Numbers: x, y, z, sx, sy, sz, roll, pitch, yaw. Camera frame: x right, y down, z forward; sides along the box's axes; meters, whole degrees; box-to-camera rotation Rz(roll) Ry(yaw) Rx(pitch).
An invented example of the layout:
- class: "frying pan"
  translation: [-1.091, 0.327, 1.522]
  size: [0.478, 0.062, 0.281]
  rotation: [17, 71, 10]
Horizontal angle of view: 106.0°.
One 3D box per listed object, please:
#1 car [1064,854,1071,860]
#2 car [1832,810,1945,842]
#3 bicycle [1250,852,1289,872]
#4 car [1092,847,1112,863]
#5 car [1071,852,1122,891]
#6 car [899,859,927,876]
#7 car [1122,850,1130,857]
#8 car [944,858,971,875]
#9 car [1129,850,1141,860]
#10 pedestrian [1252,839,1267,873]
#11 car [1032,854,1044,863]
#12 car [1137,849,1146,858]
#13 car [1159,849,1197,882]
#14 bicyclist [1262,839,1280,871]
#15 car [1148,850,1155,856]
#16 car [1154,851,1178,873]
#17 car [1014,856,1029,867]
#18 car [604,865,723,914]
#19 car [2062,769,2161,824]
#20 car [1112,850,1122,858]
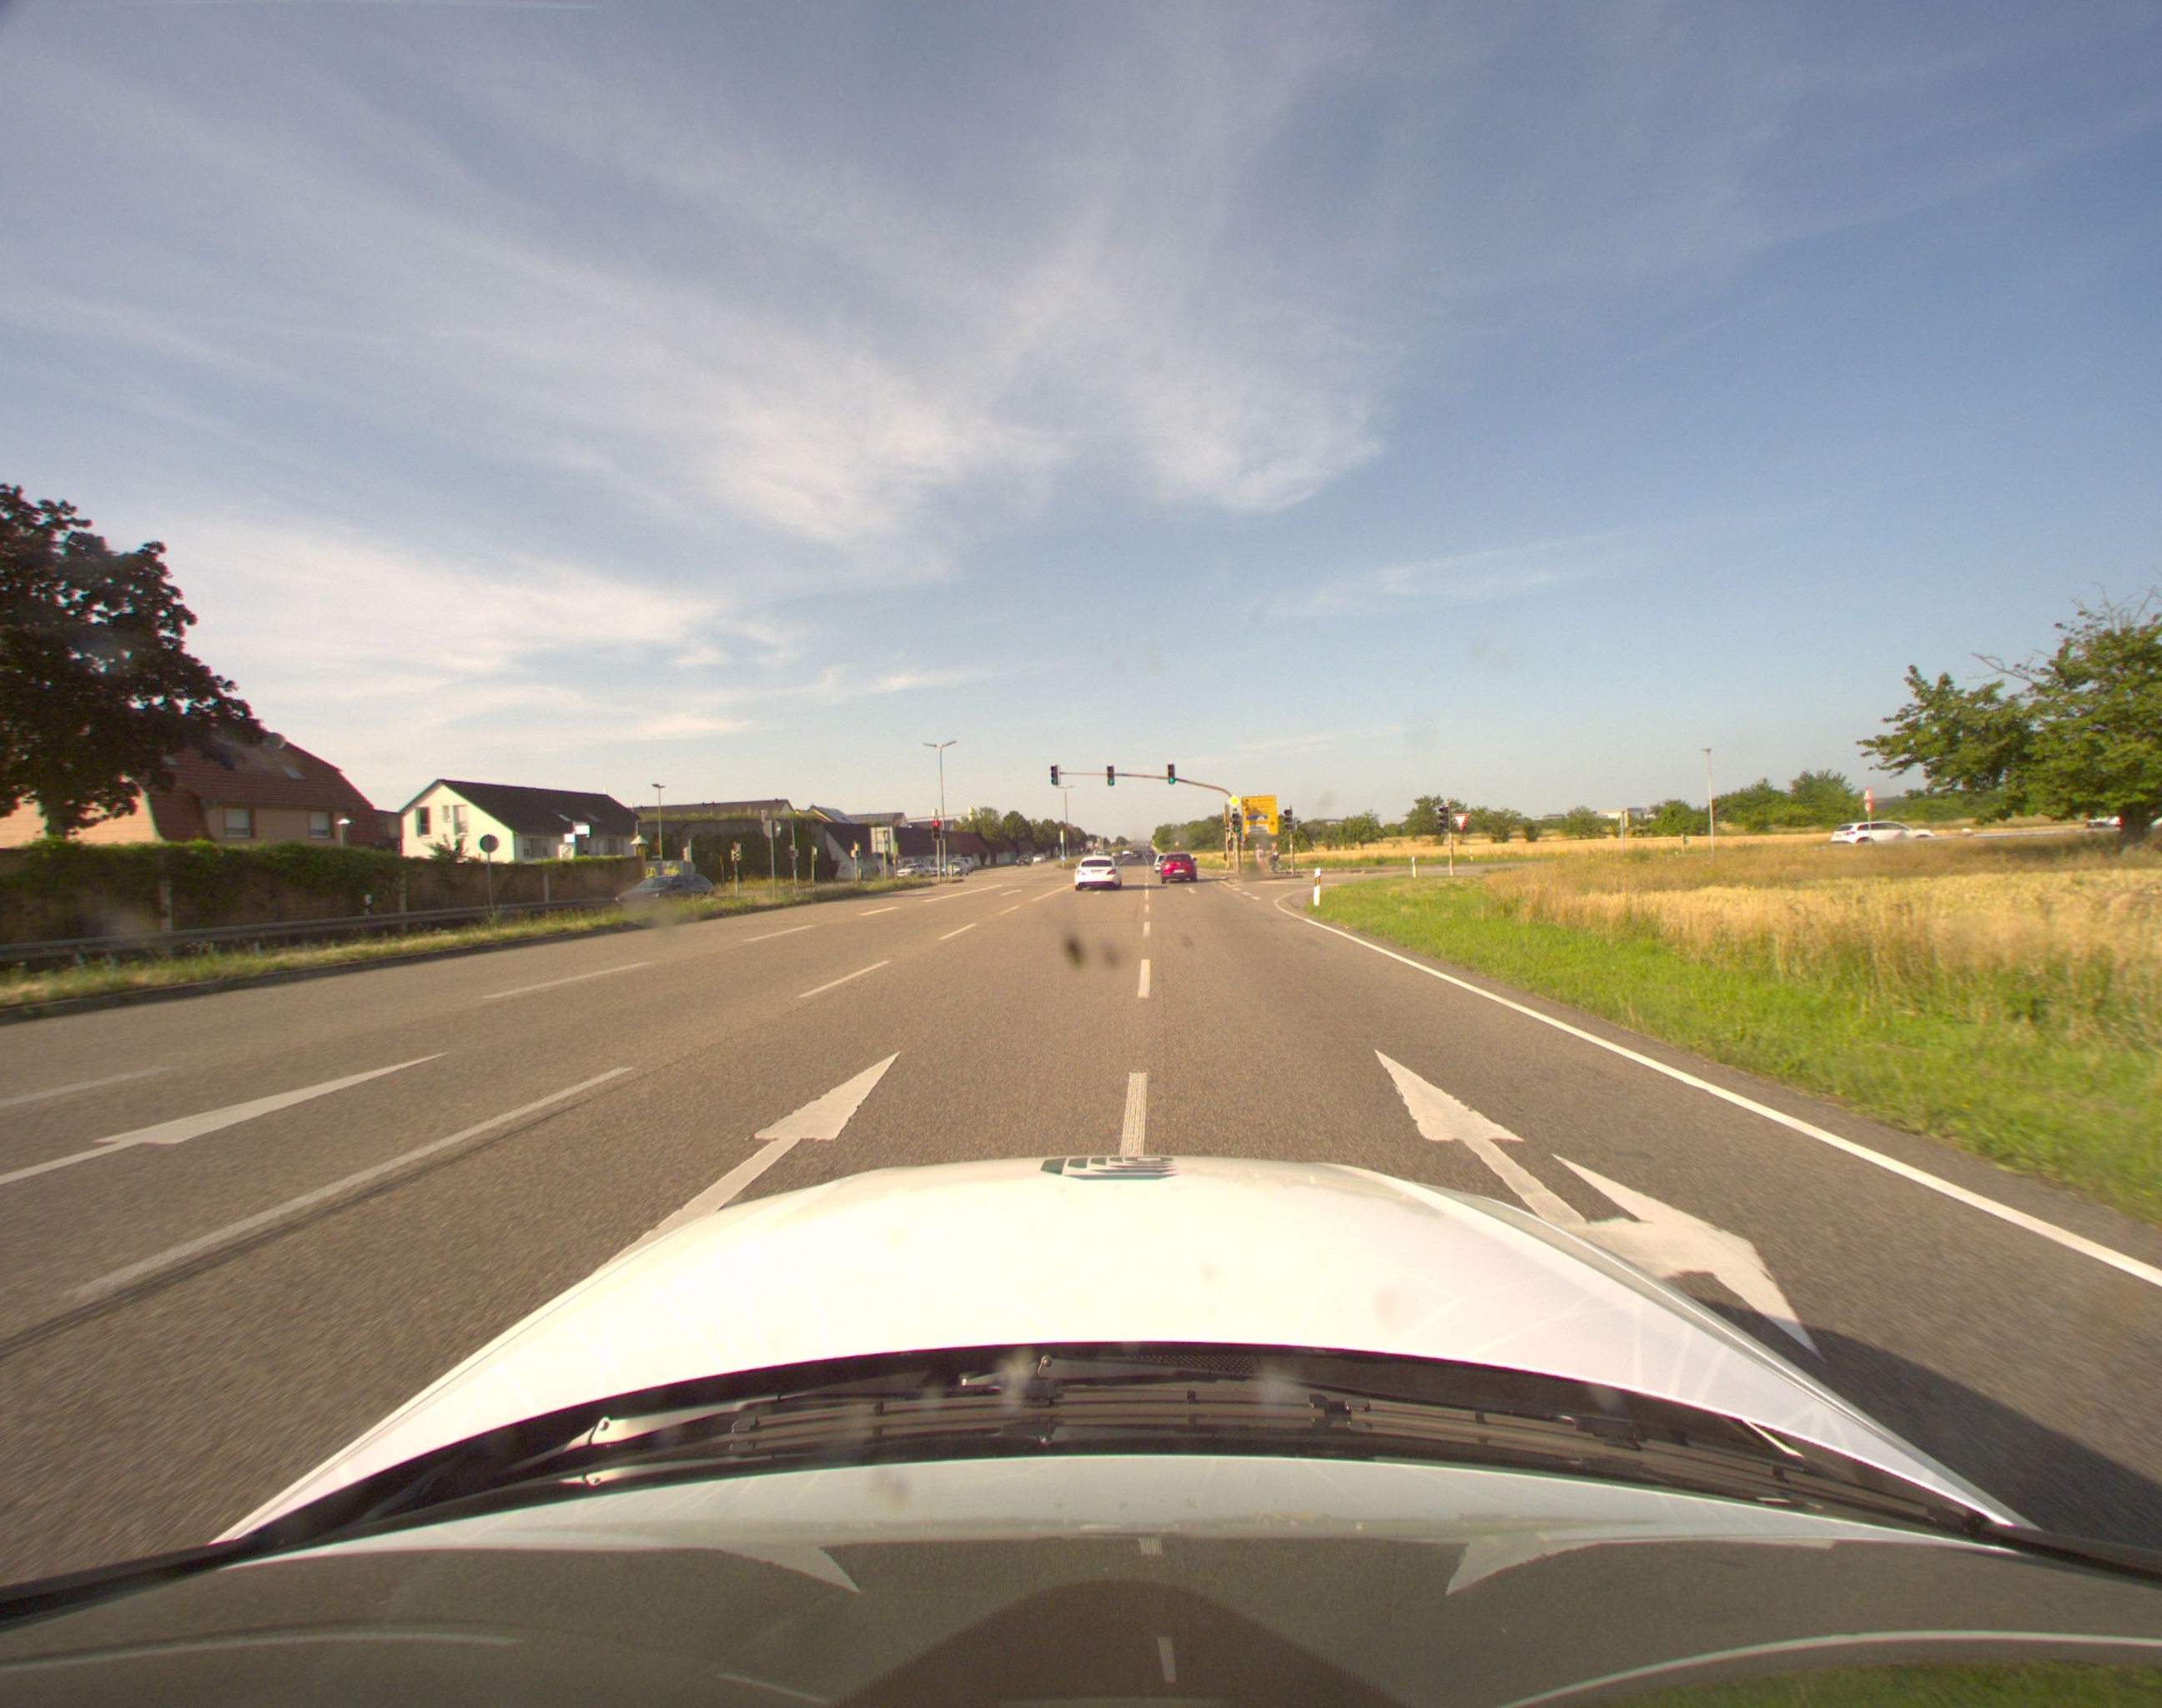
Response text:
- class: "car"
  translation: [-3.630, 0.698, 221.572]
  size: [1.746, 1.530, 4.004]
  rotation: [-1, 0, 4]
- class: "car"
  translation: [43.588, -1.483, 44.056]
  size: [3.955, 1.598, 1.870]
  rotation: [-1, 0, 18]
- class: "bicycle"
  translation: [10.546, 0.454, 45.610]
  size: [2.084, 1.088, 0.809]
  rotation: [-1, 0, 8]
- class: "car"
  translation: [2.536, 0.080, 97.894]
  size: [2.015, 1.891, 4.967]
  rotation: [-1, 1, 6]
- class: "car"
  translation: [0.738, 0.692, 34.949]
  size: [1.885, 1.509, 4.006]
  rotation: [-1, 0, 5]
- class: "car"
  translation: [-16.887, 1.365, 82.108]
  size: [1.882, 1.618, 3.858]
  rotation: [-1, 0, 2]
- class: "car"
  translation: [10.746, -0.063, 194.542]
  size: [1.769, 1.665, 3.665]
  rotation: [-1, 0, 2]
- class: "car"
  translation: [-11.627, 1.145, 77.112]
  size: [1.777, 1.437, 4.359]
  rotation: [-1, 0, 2]
- class: "car"
  translation: [9.455, 0.236, 141.909]
  size: [1.829, 1.684, 4.009]
  rotation: [-1, 0, 7]
- class: "pedestrian"
  translation: [9.526, 0.100, 43.417]
  size: [0.706, 1.751, 0.864]
  rotation: [-1, 0, 7]
- class: "car"
  translation: [-8.239, 0.852, 155.818]
  size: [1.986, 1.497, 4.002]
  rotation: [-1, 0, 2]
- class: "car"
  translation: [12.148, -0.111, 163.696]
  size: [1.703, 1.736, 3.872]
  rotation: [-1, 0, 4]
- class: "car"
  translation: [4.853, 0.545, 41.119]
  size: [1.745, 1.517, 4.007]
  rotation: [-2, 0, 6]
- class: "bicyclist"
  translation: [10.626, 0.045, 45.582]
  size: [0.844, 1.755, 0.800]
  rotation: [-1, 0, 6]
- class: "car"
  translation: [14.866, -0.249, 172.053]
  size: [1.432, 1.284, 2.919]
  rotation: [-1, 0, 6]
- class: "car"
  translation: [6.354, 0.589, 61.165]
  size: [1.721, 1.530, 3.479]
  rotation: [-1, 0, 6]
- class: "car"
  translation: [-8.955, 1.148, 122.776]
  size: [1.816, 1.508, 3.799]
  rotation: [-1, 0, 2]
- class: "car"
  translation: [-15.707, 1.278, 30.978]
  size: [1.714, 1.628, 4.666]
  rotation: [-1, 0, 6]
- class: "car"
  translation: [59.037, -3.158, 44.422]
  size: [6.961, 2.795, 2.330]
  rotation: [-1, 0, 17]
- class: "car"
  translation: [7.244, 0.033, 162.757]
  size: [1.709, 1.492, 3.590]
  rotation: [-1, 0, 5]
